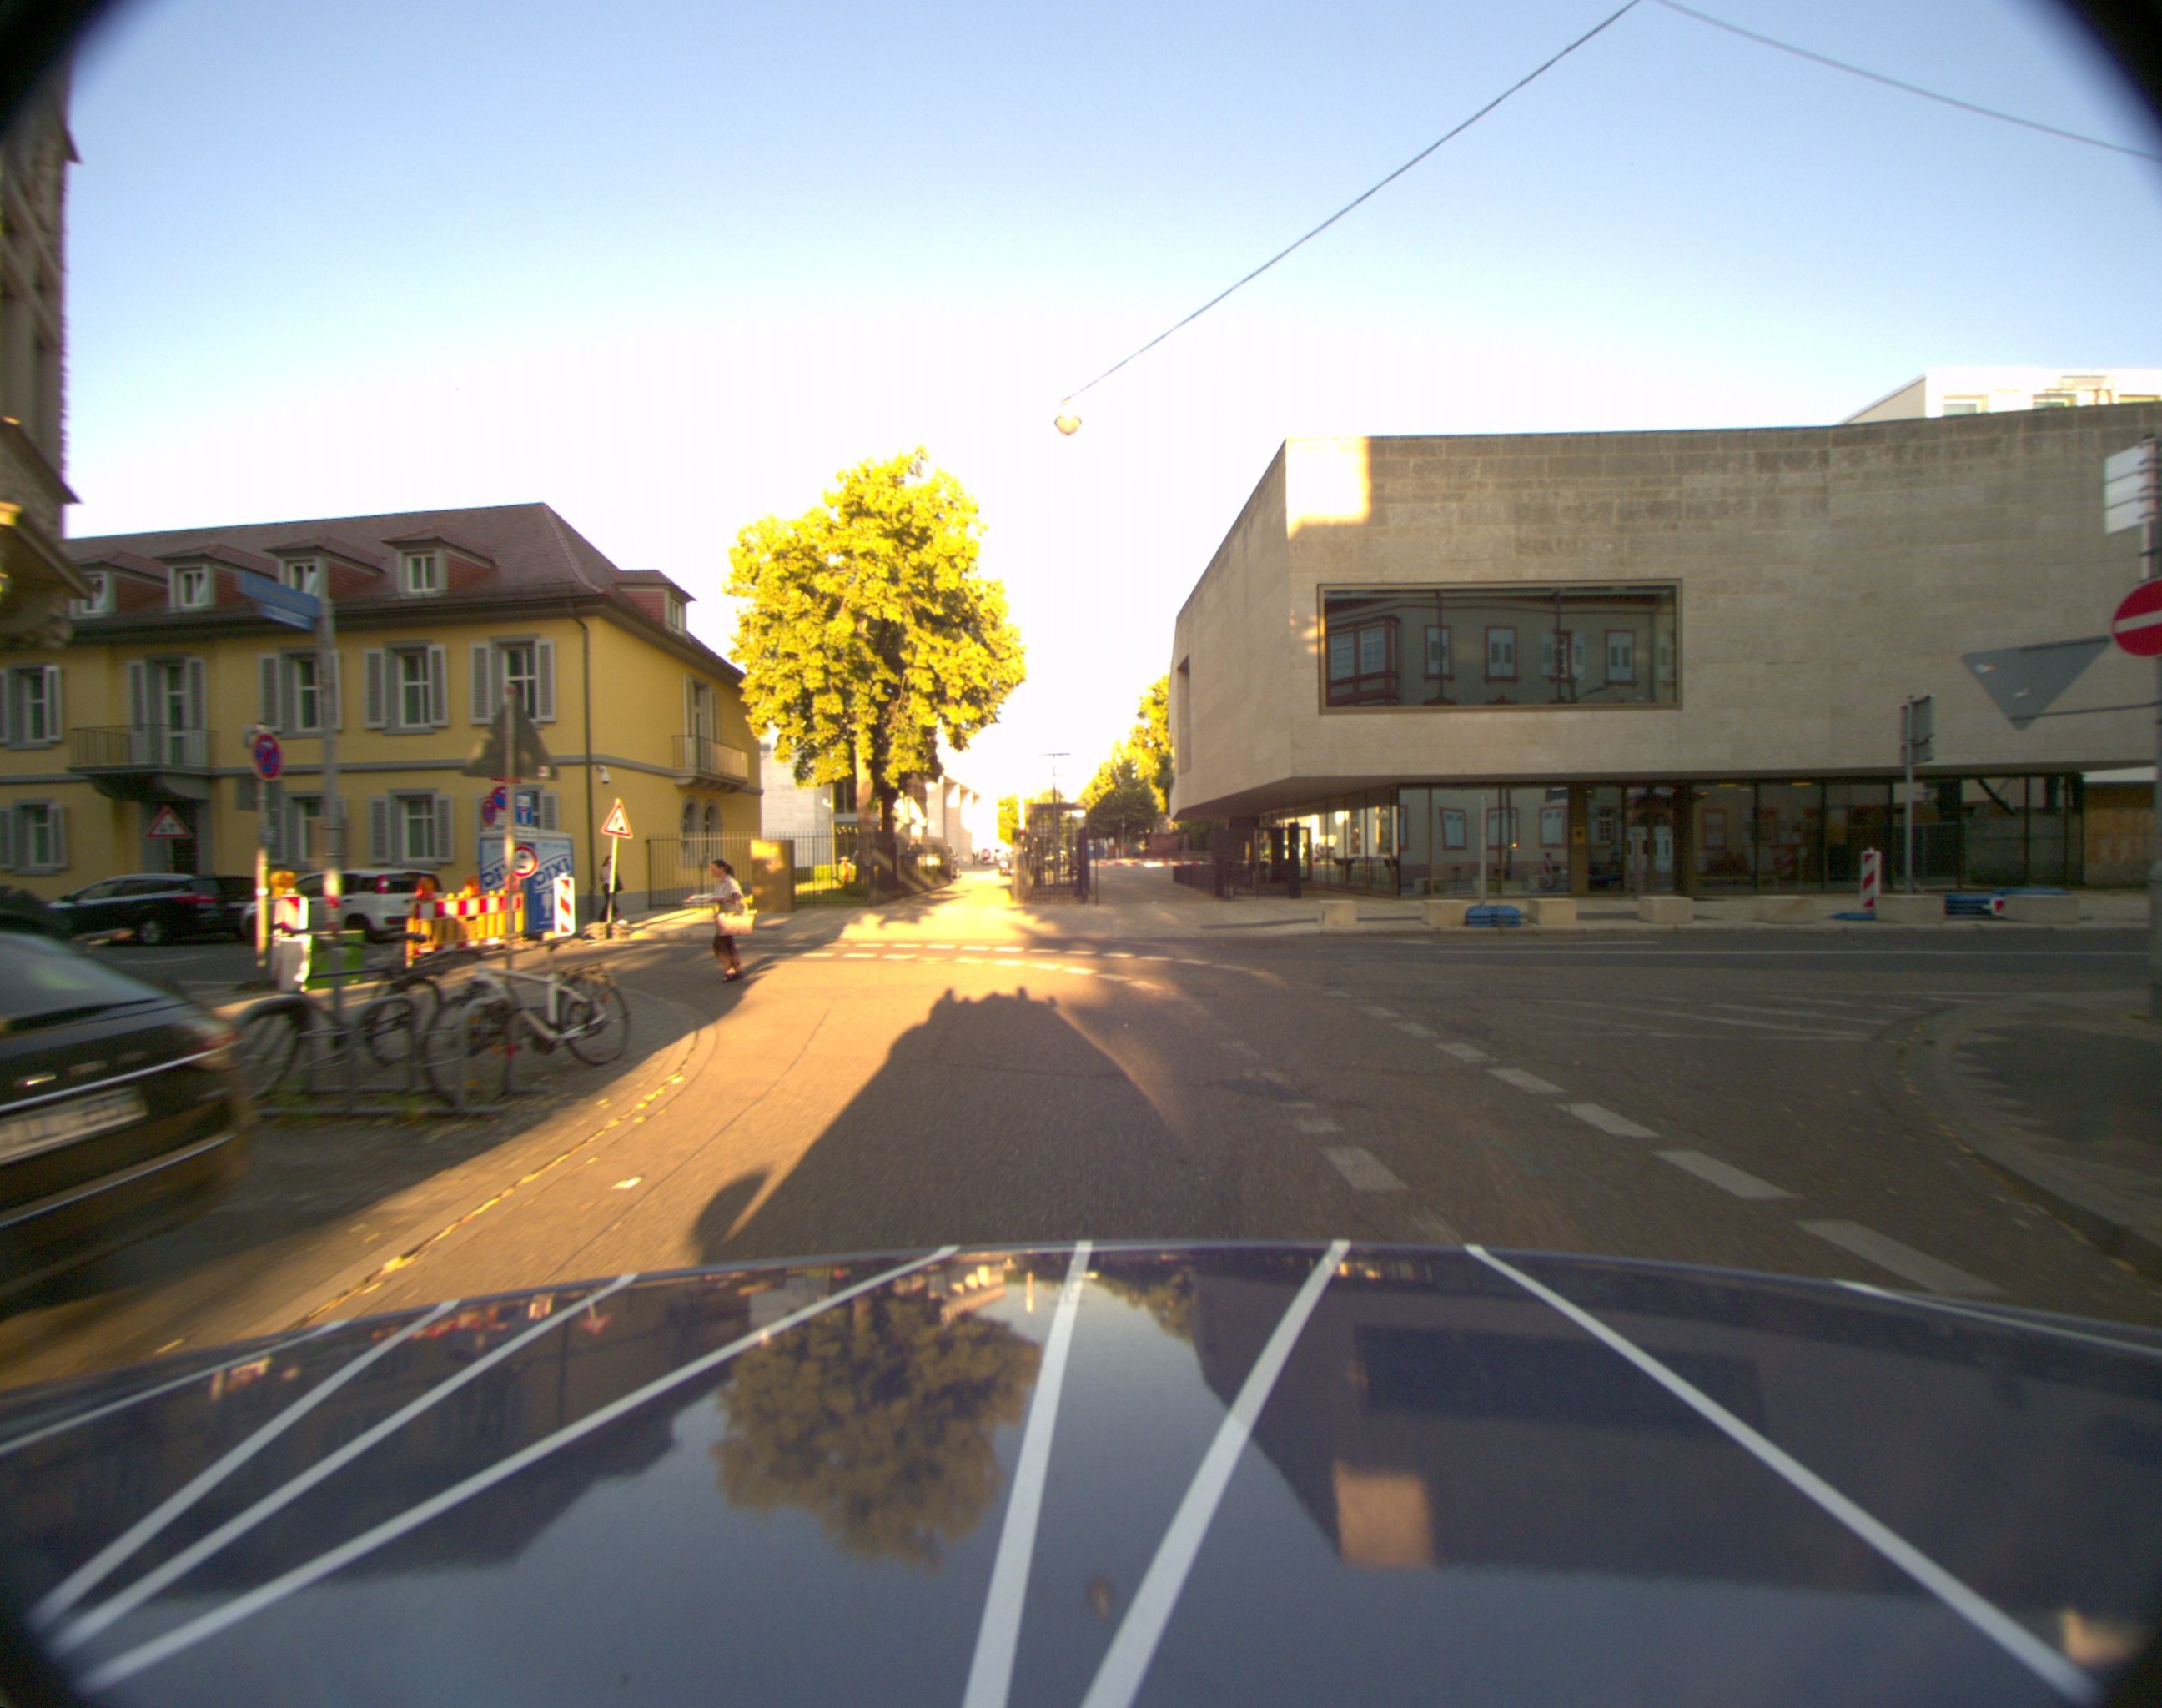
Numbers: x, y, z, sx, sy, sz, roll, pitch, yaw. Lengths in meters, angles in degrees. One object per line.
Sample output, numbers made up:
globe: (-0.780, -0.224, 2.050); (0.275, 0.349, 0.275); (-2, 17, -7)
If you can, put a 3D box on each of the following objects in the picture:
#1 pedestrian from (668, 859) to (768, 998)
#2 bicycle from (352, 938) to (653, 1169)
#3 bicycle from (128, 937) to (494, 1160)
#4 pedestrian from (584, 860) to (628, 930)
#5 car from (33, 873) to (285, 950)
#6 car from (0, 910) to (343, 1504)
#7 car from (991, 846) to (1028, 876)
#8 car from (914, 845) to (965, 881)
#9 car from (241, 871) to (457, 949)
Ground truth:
pedestrian: (-4.607, 0.899, 9.664); (0.962, 1.649, 0.638); (-2, 2, -44)
bicycle: (-3.642, 1.185, 5.026); (0.571, 1.041, 1.832); (0, 0, 0)
bicycle: (-4.946, 1.173, 5.102); (0.639, 1.008, 1.831); (-1, 0, -3)
pedestrian: (-10.838, 0.926, 17.348); (0.672, 1.585, 0.469); (-1, 1, 10)
car: (-19.563, 1.190, 16.184); (3.973, 1.511, 1.546); (-1, -1, 8)
car: (-5.143, 0.978, 1.929); (4.539, 1.502, 1.910); (0, 1, -2)
car: (-4.035, 0.354, 43.380); (1.709, 1.575, 3.678); (-1, 1, 0)
car: (-7.408, 0.442, 40.111); (1.708, 1.727, 4.064); (1, 1, 4)
car: (-15.112, 1.132, 15.765); (3.217, 1.511, 1.546); (-1, -1, 8)
